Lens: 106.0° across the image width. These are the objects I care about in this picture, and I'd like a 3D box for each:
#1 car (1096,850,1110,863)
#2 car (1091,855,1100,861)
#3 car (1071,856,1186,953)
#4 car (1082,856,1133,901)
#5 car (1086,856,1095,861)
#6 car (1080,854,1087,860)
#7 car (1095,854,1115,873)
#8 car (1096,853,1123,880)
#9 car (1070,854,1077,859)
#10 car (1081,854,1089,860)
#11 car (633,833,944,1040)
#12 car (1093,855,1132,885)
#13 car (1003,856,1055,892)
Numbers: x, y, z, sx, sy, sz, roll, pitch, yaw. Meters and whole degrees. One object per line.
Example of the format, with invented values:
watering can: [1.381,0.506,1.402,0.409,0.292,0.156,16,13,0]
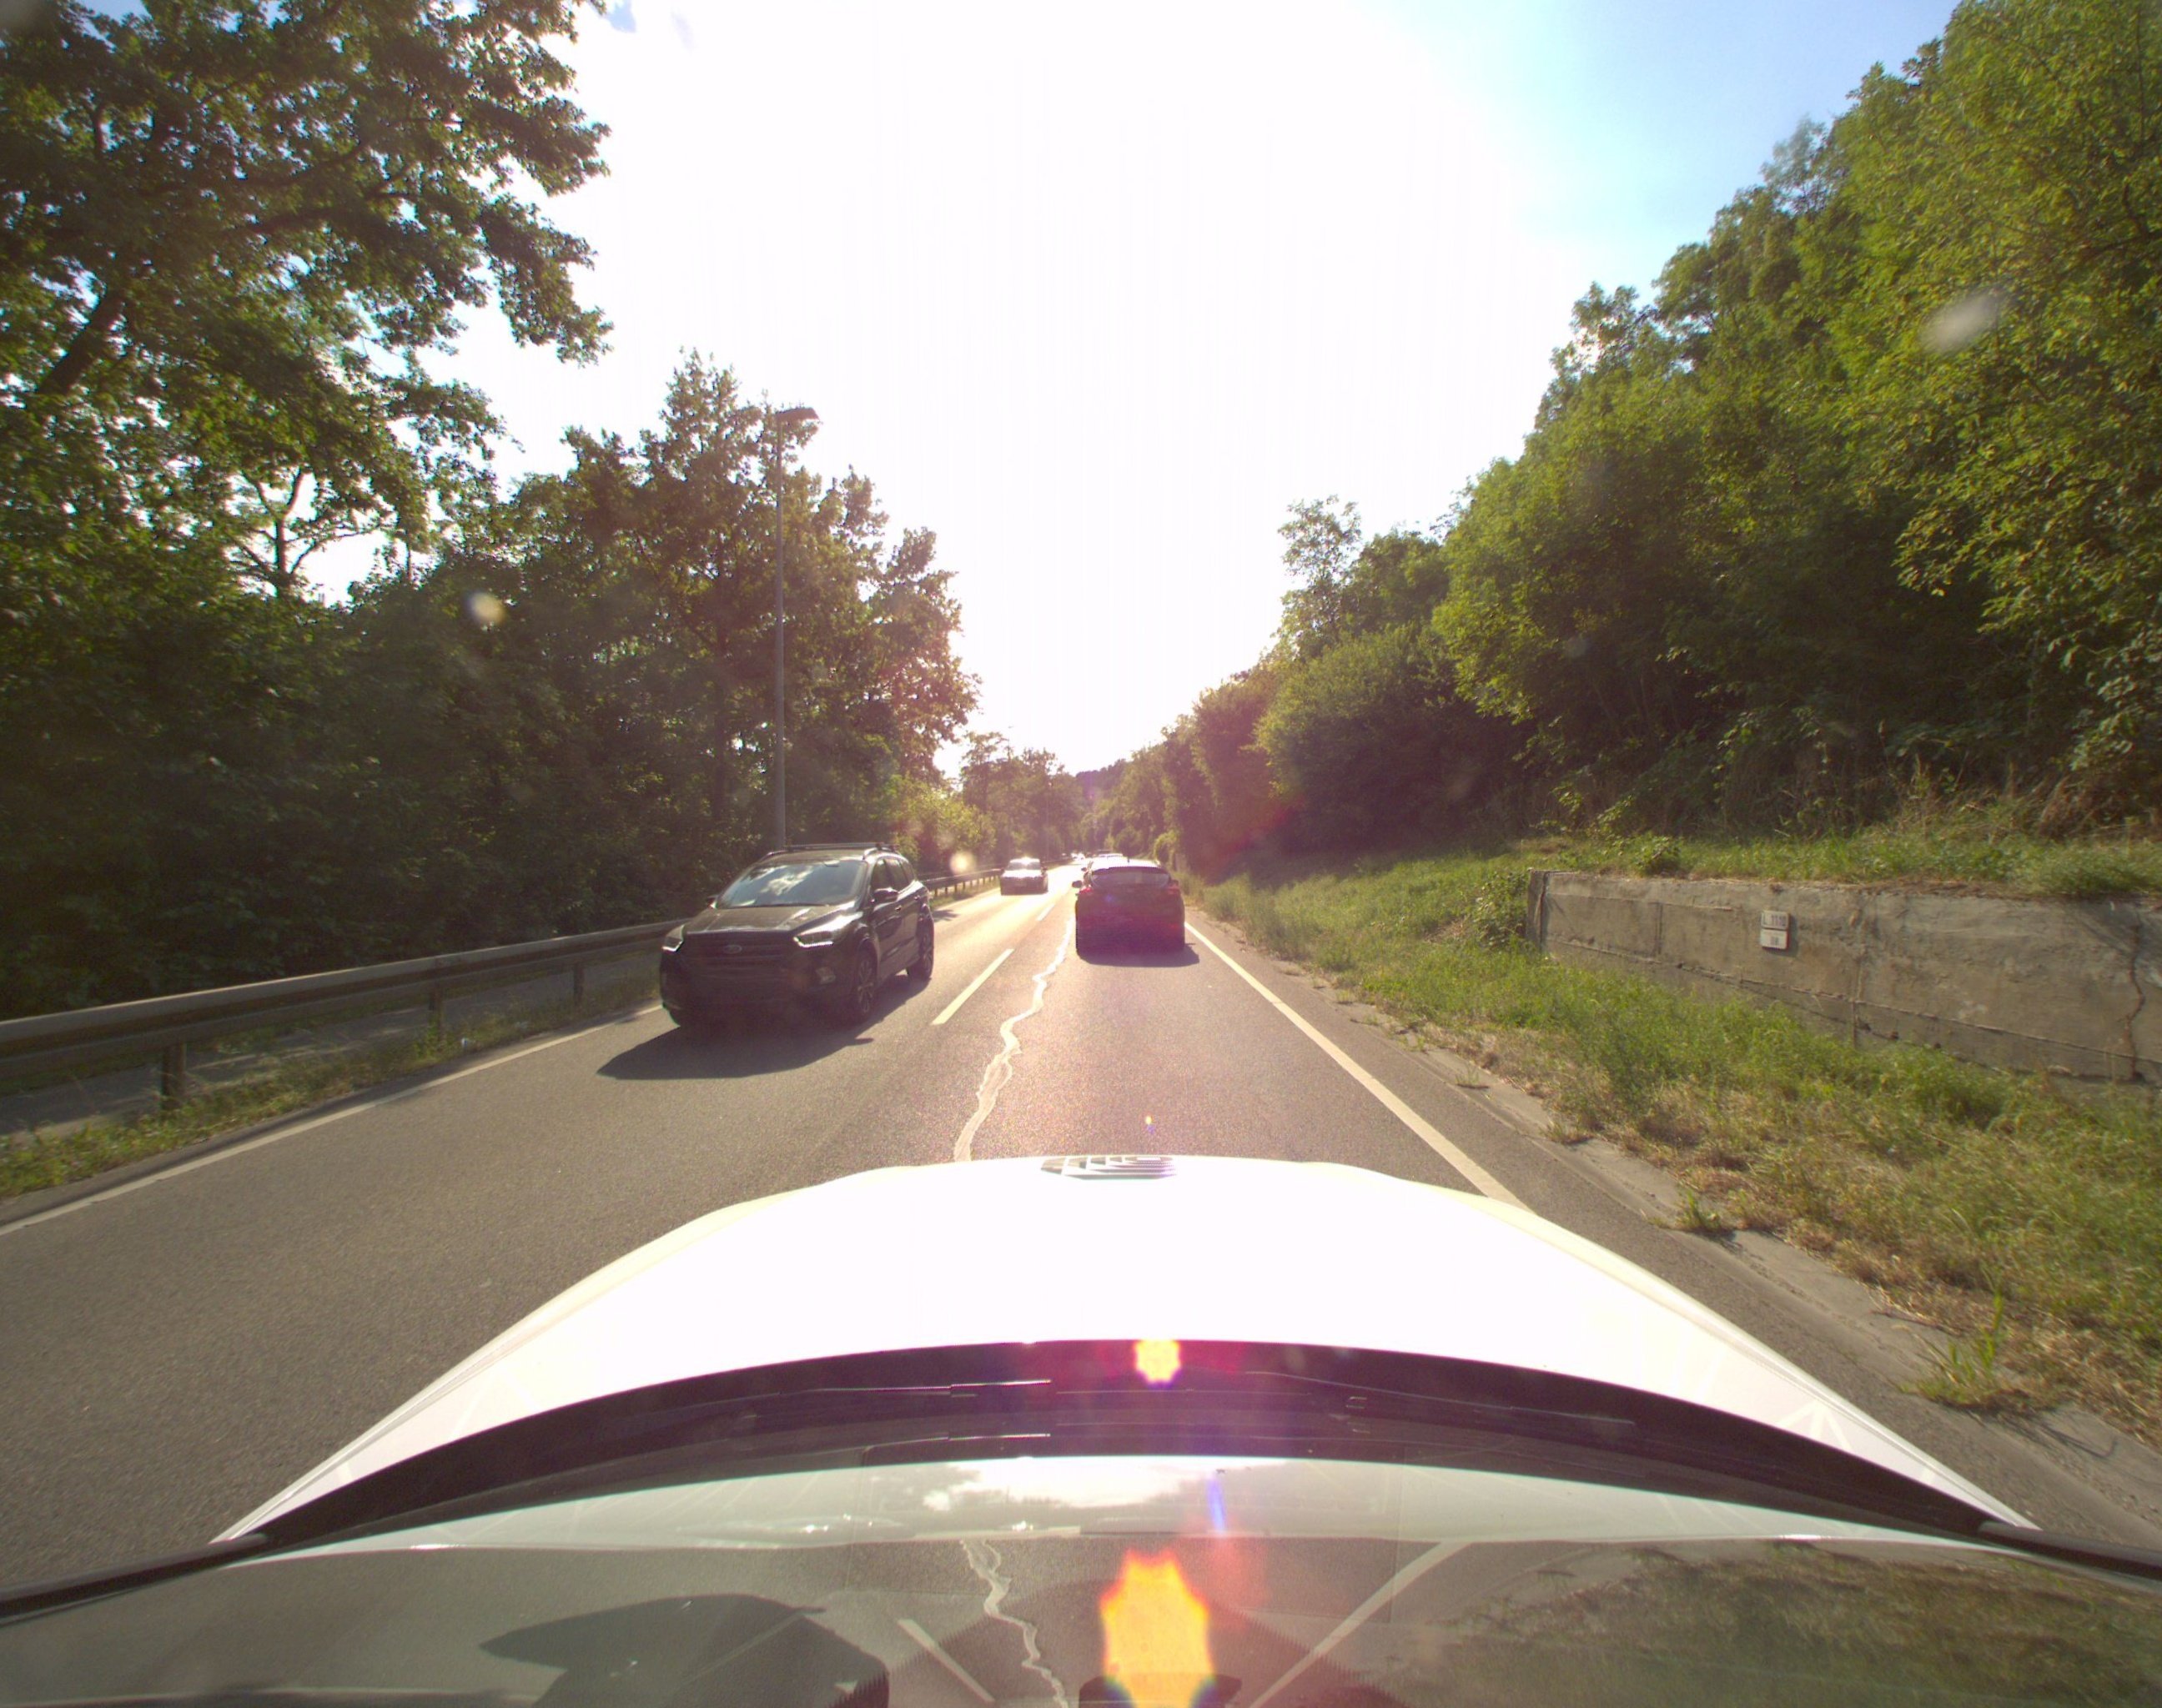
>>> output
car: [3.178,0.331,120.277,1.857,1.780,3.998,-1,0,-1]
car: [3.849,0.994,215.063,1.991,1.519,3.992,-1,0,-6]
car: [0.789,0.784,14.464,1.733,1.456,4.002,-1,0,2]
car: [0.987,0.819,28.913,1.654,1.418,4.003,-1,0,3]
car: [2.788,1.261,236.179,1.991,1.519,3.992,-1,0,-6]
car: [0.694,0.854,205.895,1.617,1.377,4.048,-3,0,1]
car: [2.102,0.813,71.415,1.624,1.596,4.002,-1,0,2]
car: [1.811,0.736,51.552,1.624,1.596,4.002,-1,0,2]
car: [-2.109,0.687,241.471,1.679,1.463,4.189,-1,0,-6]
car: [1.143,0.927,251.562,1.991,1.519,3.992,-1,0,-6]
car: [-2.847,0.706,9.037,1.741,1.717,4.223,-2,0,2]
car: [1.573,0.769,41.031,1.798,1.391,4.002,-1,0,2]
car: [-2.202,0.834,35.631,1.684,1.420,4.146,-2,0,4]
